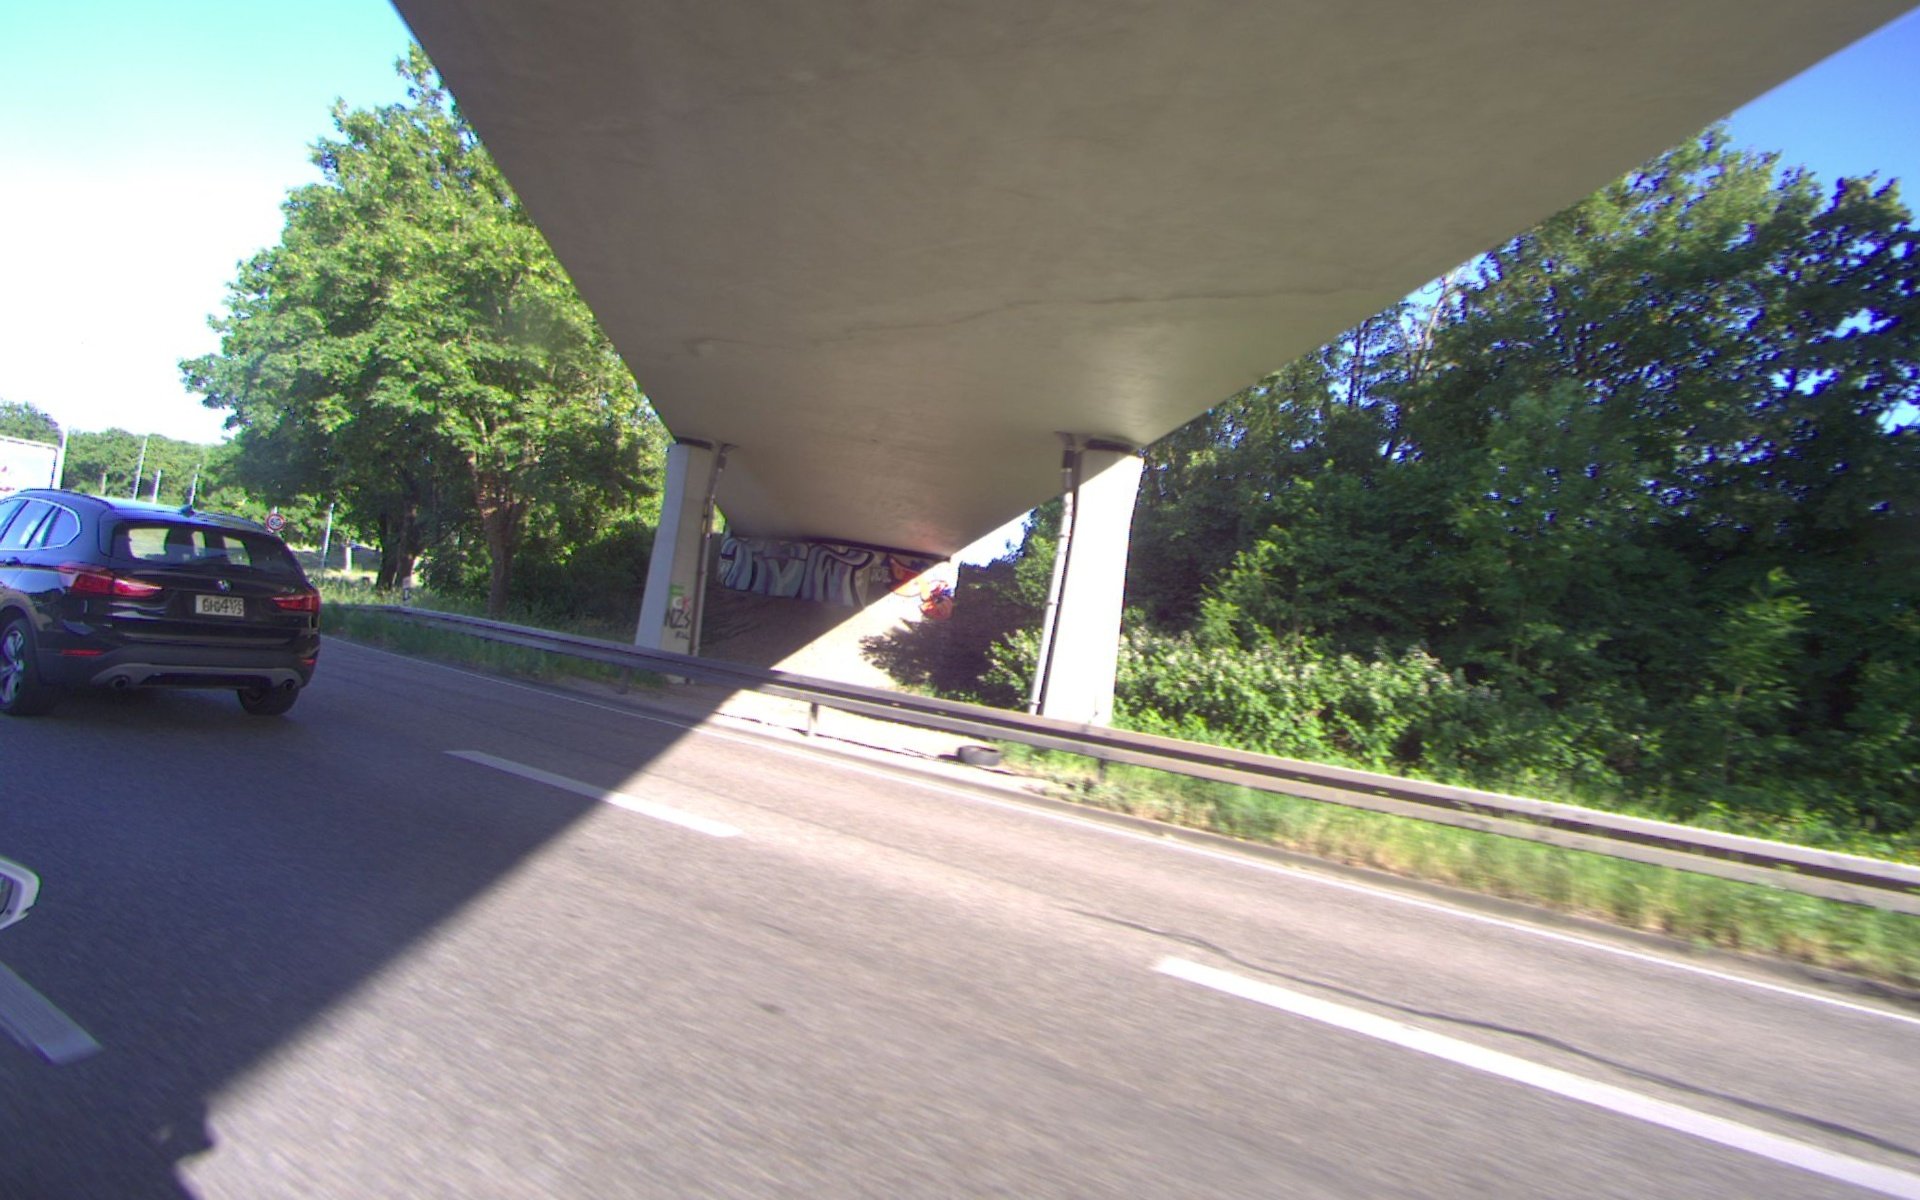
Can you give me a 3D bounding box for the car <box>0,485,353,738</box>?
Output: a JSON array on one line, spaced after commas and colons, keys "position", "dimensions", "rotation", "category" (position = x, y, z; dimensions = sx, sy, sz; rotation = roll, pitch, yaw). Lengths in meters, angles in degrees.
[{"position": [-7.233, -0.033, 8.392], "dimensions": [4.446, 1.591, 1.758], "rotation": [6, -1, 32], "category": "car"}]
